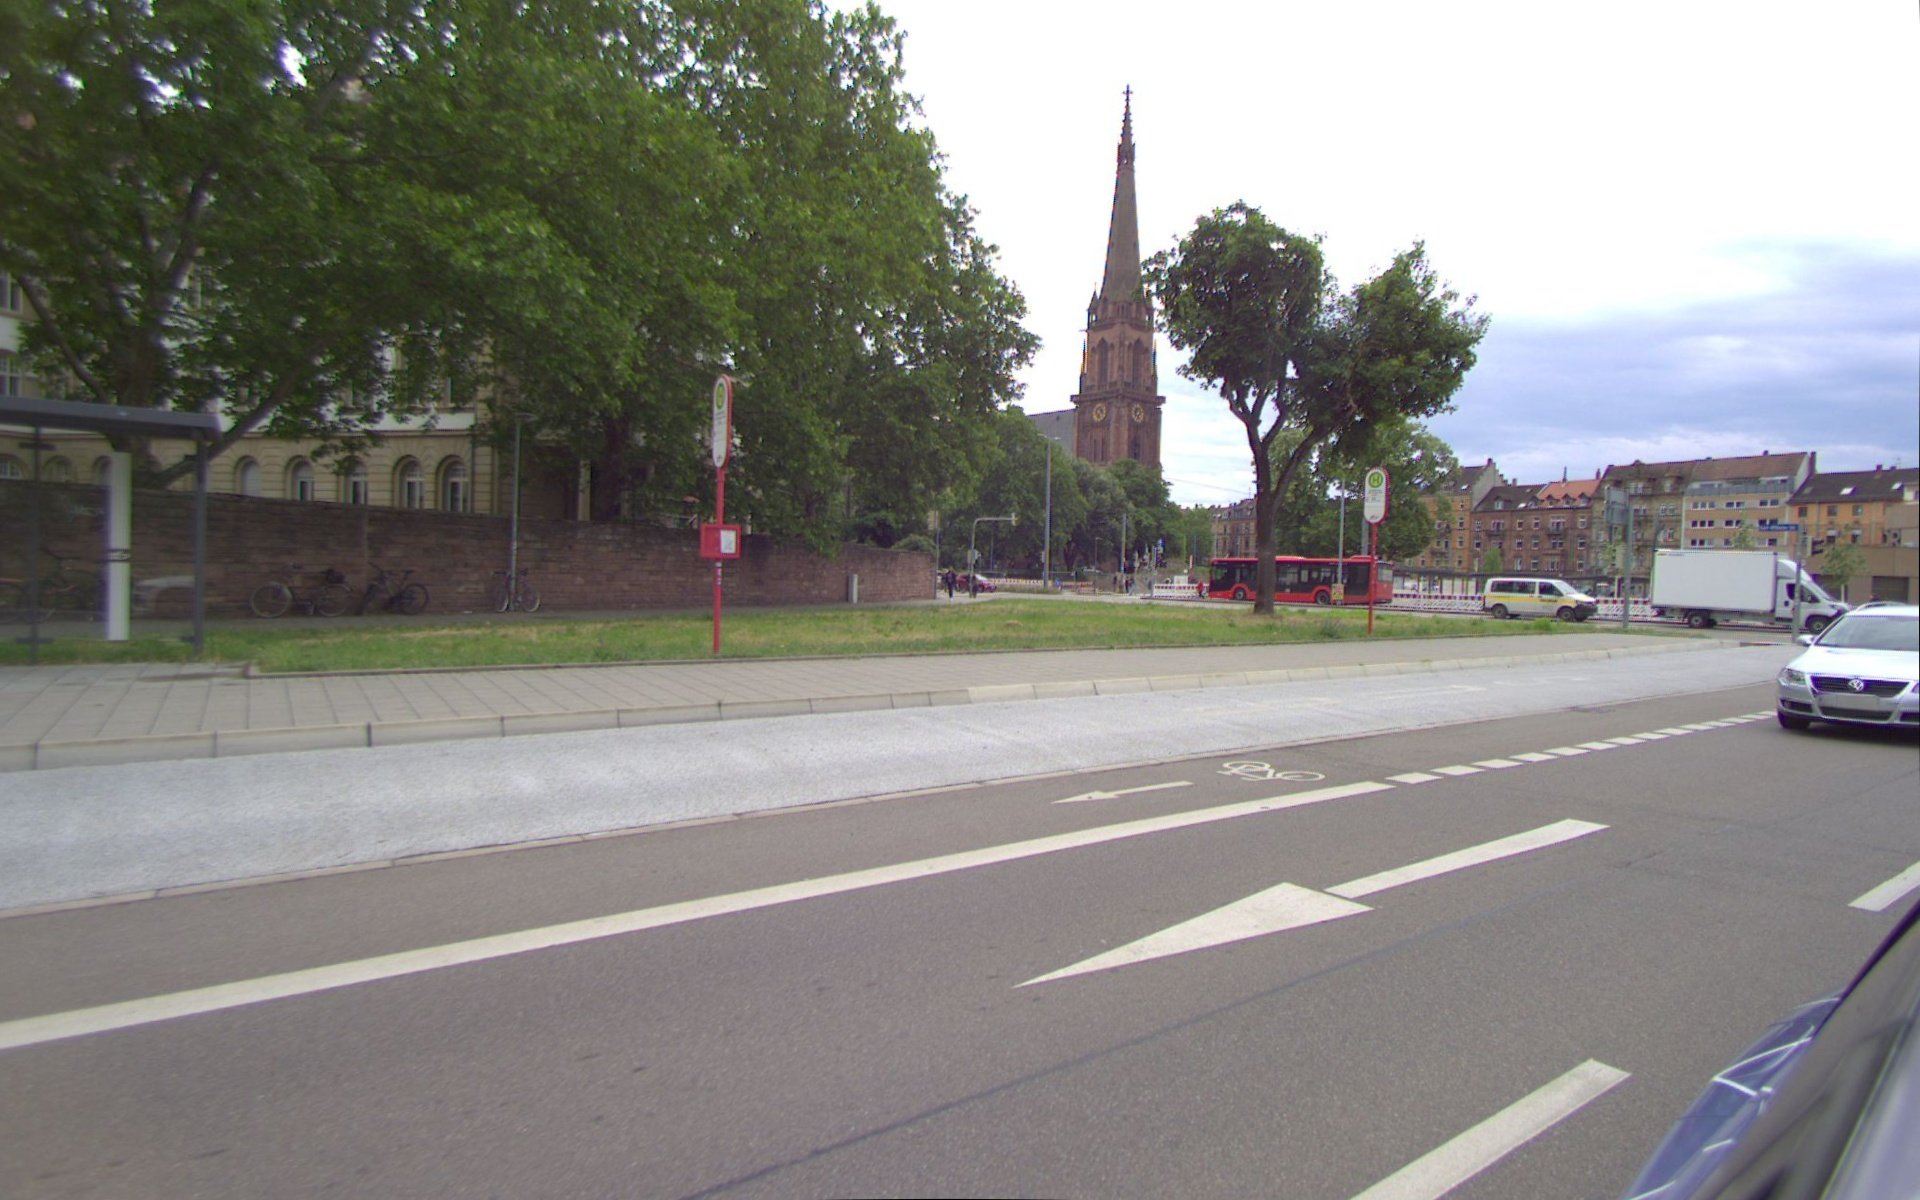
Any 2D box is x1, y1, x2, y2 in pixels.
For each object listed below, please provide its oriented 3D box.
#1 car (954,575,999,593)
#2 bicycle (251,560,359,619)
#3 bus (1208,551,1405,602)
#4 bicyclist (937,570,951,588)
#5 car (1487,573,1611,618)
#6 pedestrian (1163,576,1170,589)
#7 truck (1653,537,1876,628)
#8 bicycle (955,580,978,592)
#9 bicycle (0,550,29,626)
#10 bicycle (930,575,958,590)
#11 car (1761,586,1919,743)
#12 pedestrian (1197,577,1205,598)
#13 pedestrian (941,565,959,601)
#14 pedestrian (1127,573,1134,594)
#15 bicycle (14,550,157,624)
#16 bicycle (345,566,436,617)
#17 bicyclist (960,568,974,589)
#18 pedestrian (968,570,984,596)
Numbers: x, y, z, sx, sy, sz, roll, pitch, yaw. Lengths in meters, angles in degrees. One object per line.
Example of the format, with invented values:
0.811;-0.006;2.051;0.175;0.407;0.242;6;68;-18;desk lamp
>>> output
1.310;-1.277;80.566;3.525;1.170;1.425;5;4;42;car
-12.722;-0.211;19.707;0.590;1.072;1.697;4;3;28;bicycle
21.610;-1.546;64.202;2.885;2.944;12.086;1;1;-39;bus
-1.255;-1.665;79.776;0.738;1.373;0.781;5;3;40;bicyclist
27.930;-0.251;48.095;1.886;1.943;4.711;-1;3;-39;car
19.121;-1.637;93.668;0.365;1.210;0.374;1;3;-37;pedestrian
33.132;-0.787;41.919;2.516;3.453;6.846;-2;3;-40;truck
0.510;-1.077;77.674;1.813;0.830;0.593;5;3;40;bicycle
-15.292;-0.189;15.290;0.590;1.150;1.697;4;3;28;bicycle
-1.294;-1.345;79.812;2.213;1.051;0.781;5;3;41;bicycle
11.490;0.639;12.029;4.440;1.570;1.831;-1;1;-34;car
17.285;-0.909;72.573;0.366;1.484;0.372;1;3;-37;pedestrian
-0.506;-0.870;50.820;0.744;1.756;0.822;3;2;6;pedestrian
14.512;-1.428;86.295;0.365;1.726;0.374;1;3;-37;pedestrian
-14.481;-0.229;16.803;0.590;1.143;1.697;4;3;28;bicycle
-11.907;-0.192;21.211;0.545;1.004;1.623;4;3;25;bicycle
0.555;-1.632;77.644;0.779;1.540;0.593;5;3;39;bicyclist
1.047;-1.113;65.484;0.678;1.658;0.875;2;1;-22;pedestrian
